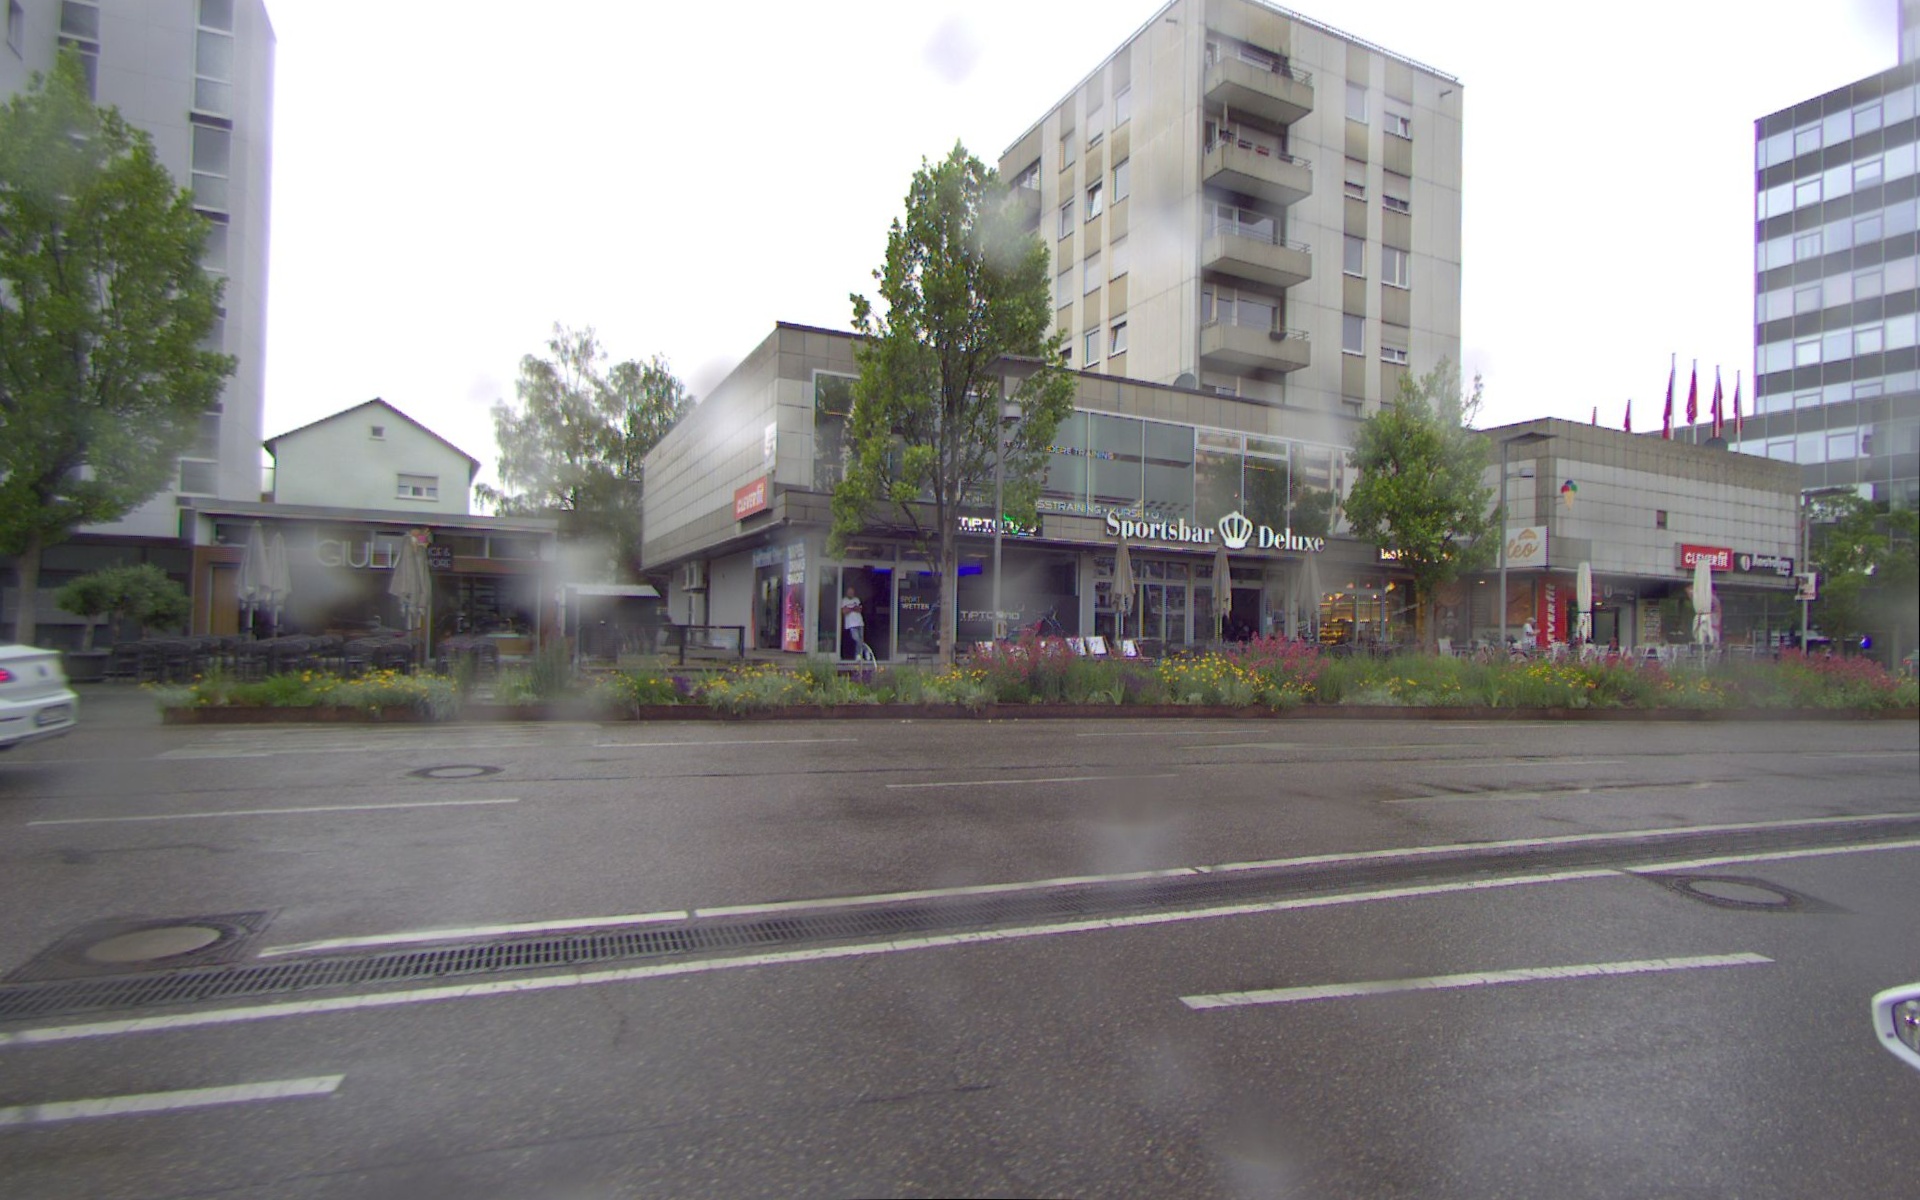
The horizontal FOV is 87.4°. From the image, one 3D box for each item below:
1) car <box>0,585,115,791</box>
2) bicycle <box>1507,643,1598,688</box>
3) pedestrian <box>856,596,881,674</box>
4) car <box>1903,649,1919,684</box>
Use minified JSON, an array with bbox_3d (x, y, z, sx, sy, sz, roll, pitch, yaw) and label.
[{"bbox_3d":[-9.404,0.566,7.182,4.739,1.480,1.838,2,-1,-22],"label":"car"},{"bbox_3d":[18.321,2.012,31.147,0.686,1.239,2.540,2,-1,-22],"label":"bicycle"},{"bbox_3d":[-2.232,0.842,24.419,0.493,1.872,0.426,2,-1,-16],"label":"pedestrian"},{"bbox_3d":[40.662,2.741,40.106,1.842,1.439,4.040,2,-1,-20],"label":"car"}]
